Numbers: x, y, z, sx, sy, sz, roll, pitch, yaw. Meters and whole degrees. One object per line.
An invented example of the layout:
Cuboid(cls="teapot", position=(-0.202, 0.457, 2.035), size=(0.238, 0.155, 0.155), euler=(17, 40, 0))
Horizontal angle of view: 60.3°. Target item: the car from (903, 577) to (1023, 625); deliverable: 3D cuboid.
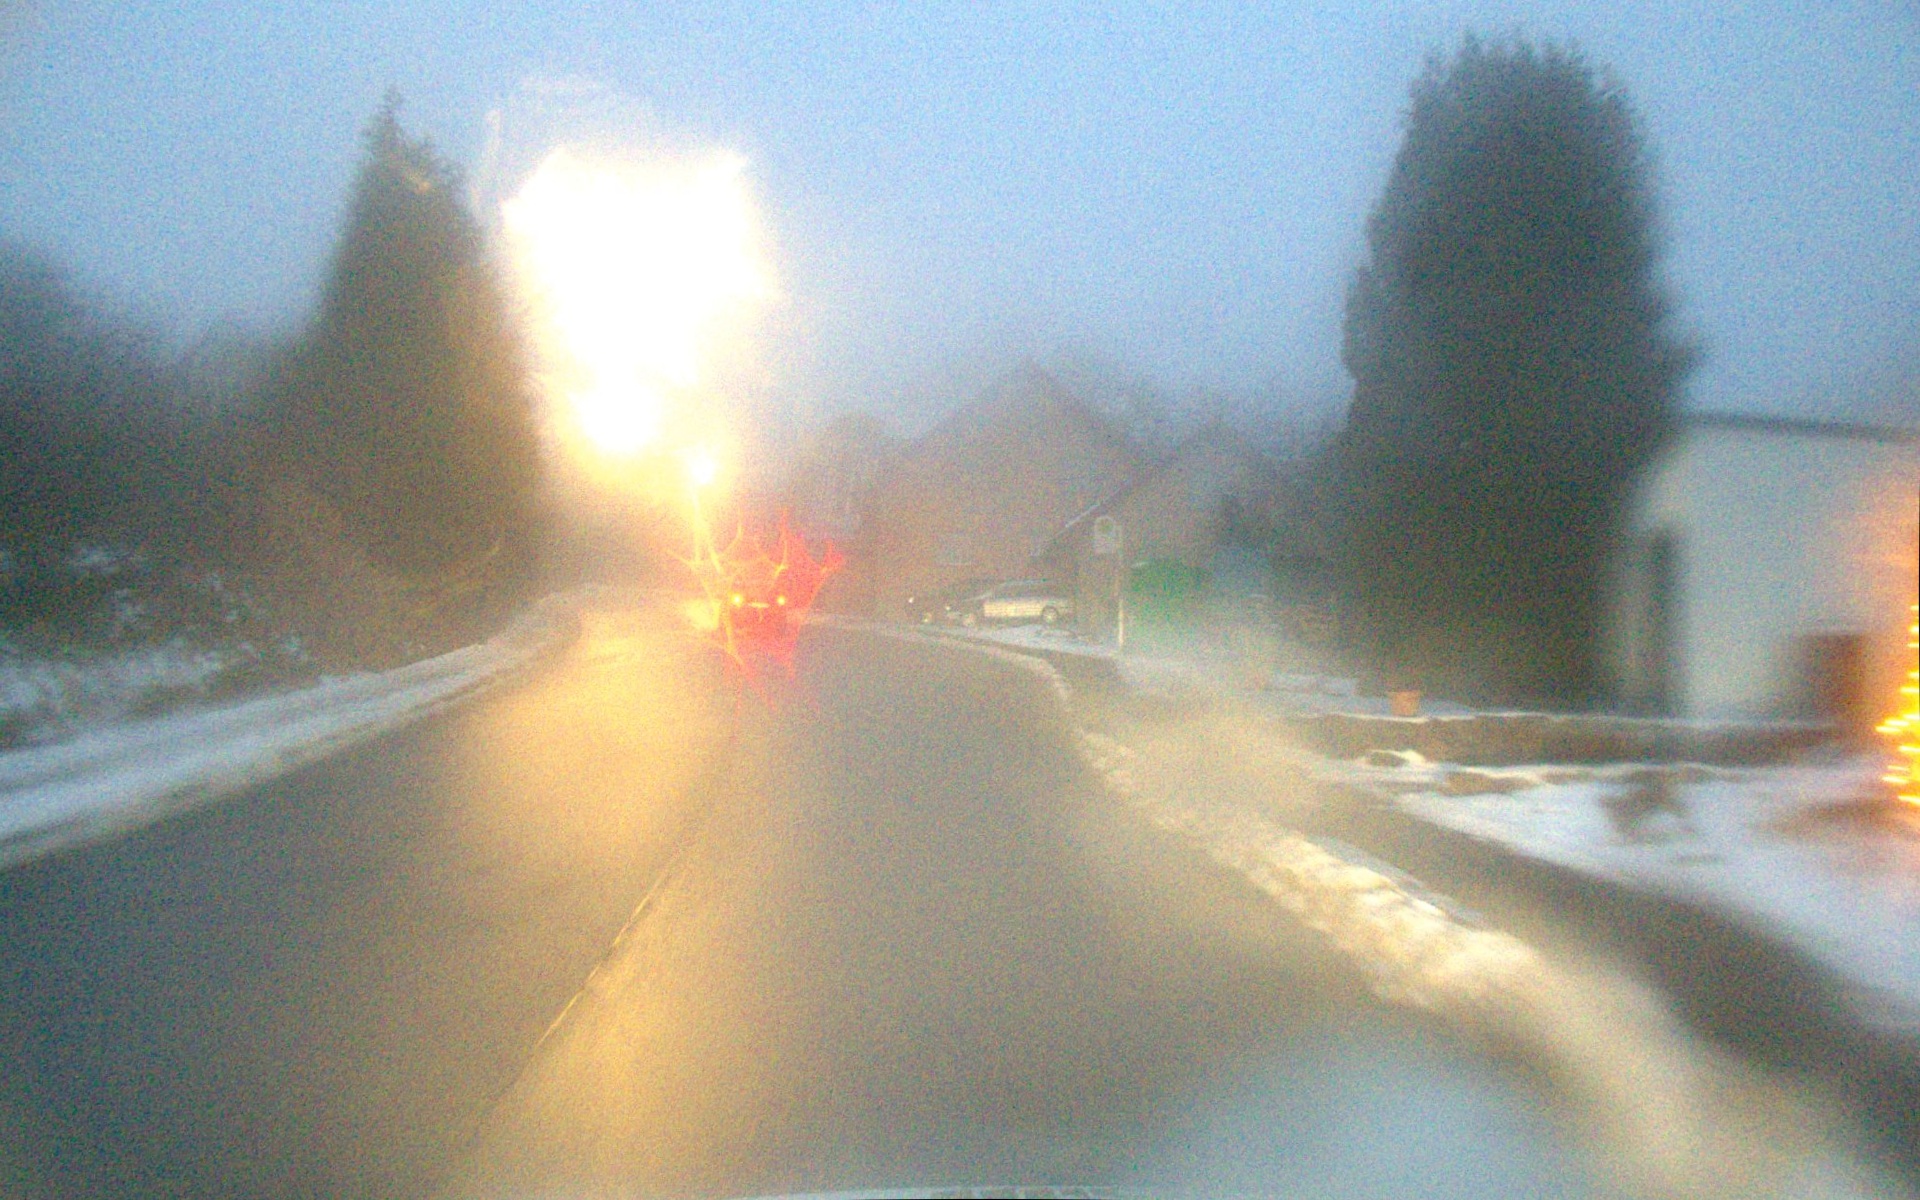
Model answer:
Cuboid(cls="car", position=(0.072, 0.047, 57.627), size=(4.076, 1.586, 1.944), euler=(0, -2, -4))

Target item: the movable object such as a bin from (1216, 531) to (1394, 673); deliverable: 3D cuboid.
Cuboid(cls="movable object such as a bin", position=(6.660, 0.057, 32.485), size=(2.339, 2.512, 4.513), euler=(2, -1, -2))

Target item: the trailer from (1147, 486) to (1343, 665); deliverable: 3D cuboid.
Cuboid(cls="trailer", position=(6.263, -0.491, 37.082), size=(2.821, 3.623, 5.052), euler=(2, -1, -8))

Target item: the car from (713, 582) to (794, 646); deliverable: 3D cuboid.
Cuboid(cls="car", position=(-6.146, 0.444, 48.908), size=(1.959, 1.767, 3.864), euler=(1, -2, -14))

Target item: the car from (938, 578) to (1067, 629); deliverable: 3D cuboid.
Cuboid(cls="car", position=(1.407, 0.131, 54.703), size=(4.155, 1.586, 2.000), euler=(0, -2, 1))
